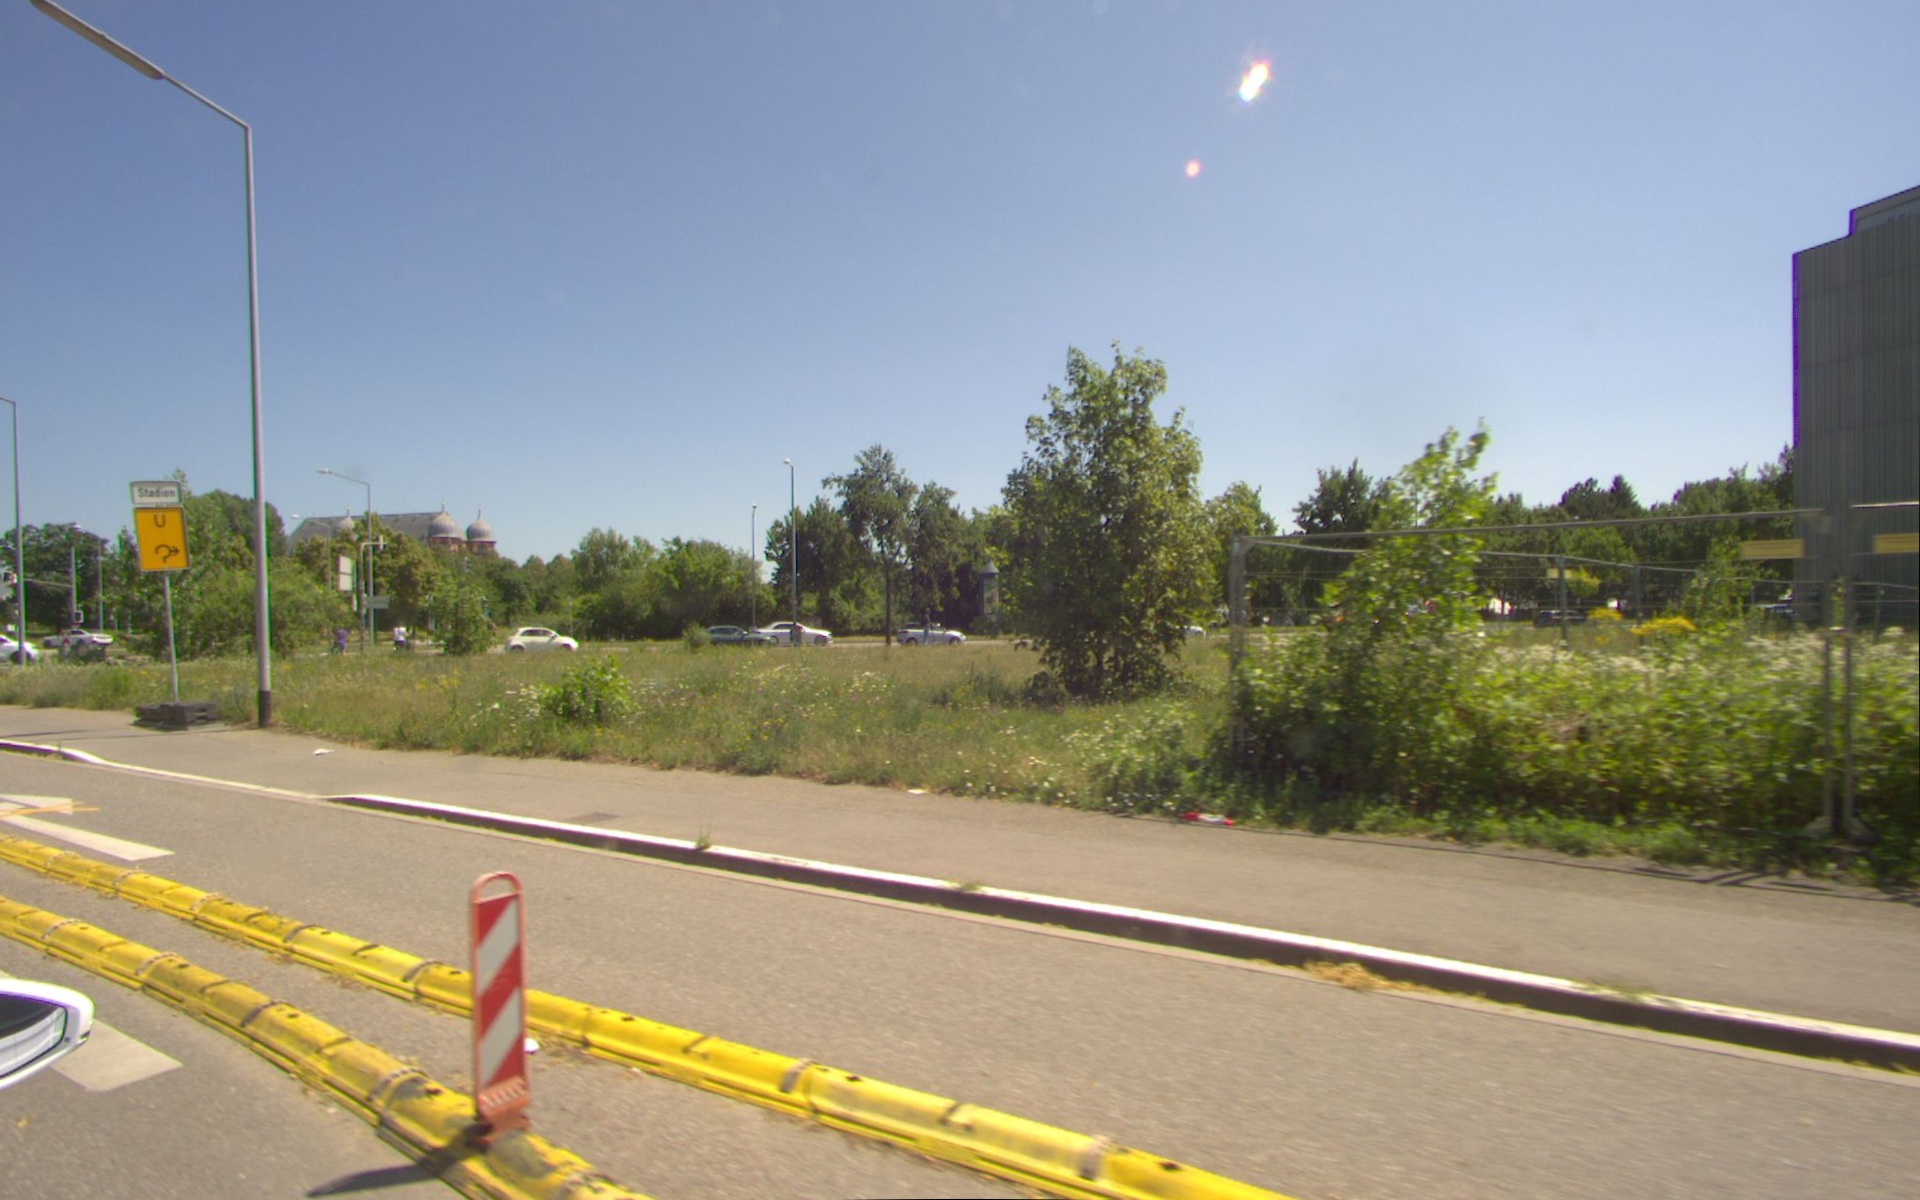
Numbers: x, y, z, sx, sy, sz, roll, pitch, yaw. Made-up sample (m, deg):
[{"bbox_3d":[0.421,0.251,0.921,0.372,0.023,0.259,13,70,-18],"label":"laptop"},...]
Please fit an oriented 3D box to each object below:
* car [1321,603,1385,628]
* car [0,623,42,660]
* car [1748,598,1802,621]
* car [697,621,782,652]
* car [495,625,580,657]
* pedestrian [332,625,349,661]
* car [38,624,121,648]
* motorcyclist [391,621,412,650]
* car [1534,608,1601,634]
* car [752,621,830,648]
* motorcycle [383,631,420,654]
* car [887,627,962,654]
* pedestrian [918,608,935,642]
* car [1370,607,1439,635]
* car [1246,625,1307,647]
[{"bbox_3d":[28.497,1.166,72.631,3.924,1.772,1.808,0,-1,-10],"label":"car"},{"bbox_3d":[-41.080,1.737,41.776,1.721,1.572,3.968,-2,-2,41],"label":"car"},{"bbox_3d":[74.486,0.929,91.531,3.931,2.039,1.996,0,-1,-19],"label":"car"},{"bbox_3d":[-12.050,2.007,54.743,4.336,1.571,1.736,2,-2,-22],"label":"car"},{"bbox_3d":[-21.698,2.087,51.382,3.938,1.572,1.734,1,-2,-26],"label":"car"},{"bbox_3d":[-27.439,1.884,44.348,0.506,1.583,0.496,-1,-1,32],"label":"pedestrian"},{"bbox_3d":[-70.063,2.878,79.734,5.080,1.810,2.026,-1,0,6],"label":"car"},{"bbox_3d":[-25.071,1.600,44.949,0.570,1.306,0.615,0,-1,3],"label":"motorcyclist"},{"bbox_3d":[42.788,1.468,70.535,3.928,1.772,1.806,0,-1,-15],"label":"car"},{"bbox_3d":[-10.311,2.077,60.995,4.559,1.572,1.738,0,-2,-16],"label":"car"},{"bbox_3d":[-25.045,1.889,44.901,0.619,0.982,1.709,0,-2,3],"label":"motorcycle"},{"bbox_3d":[-2.068,2.327,57.878,4.002,1.524,1.998,0,-2,-15],"label":"car"},{"bbox_3d":[-1.656,1.259,49.965,0.724,1.712,0.498,0,-1,-18],"label":"pedestrian"},{"bbox_3d":[29.585,1.407,66.667,3.928,1.772,1.806,0,-1,-15],"label":"car"},{"bbox_3d":[23.072,2.640,73.023,3.928,1.572,1.738,0,-2,-16],"label":"car"}]
